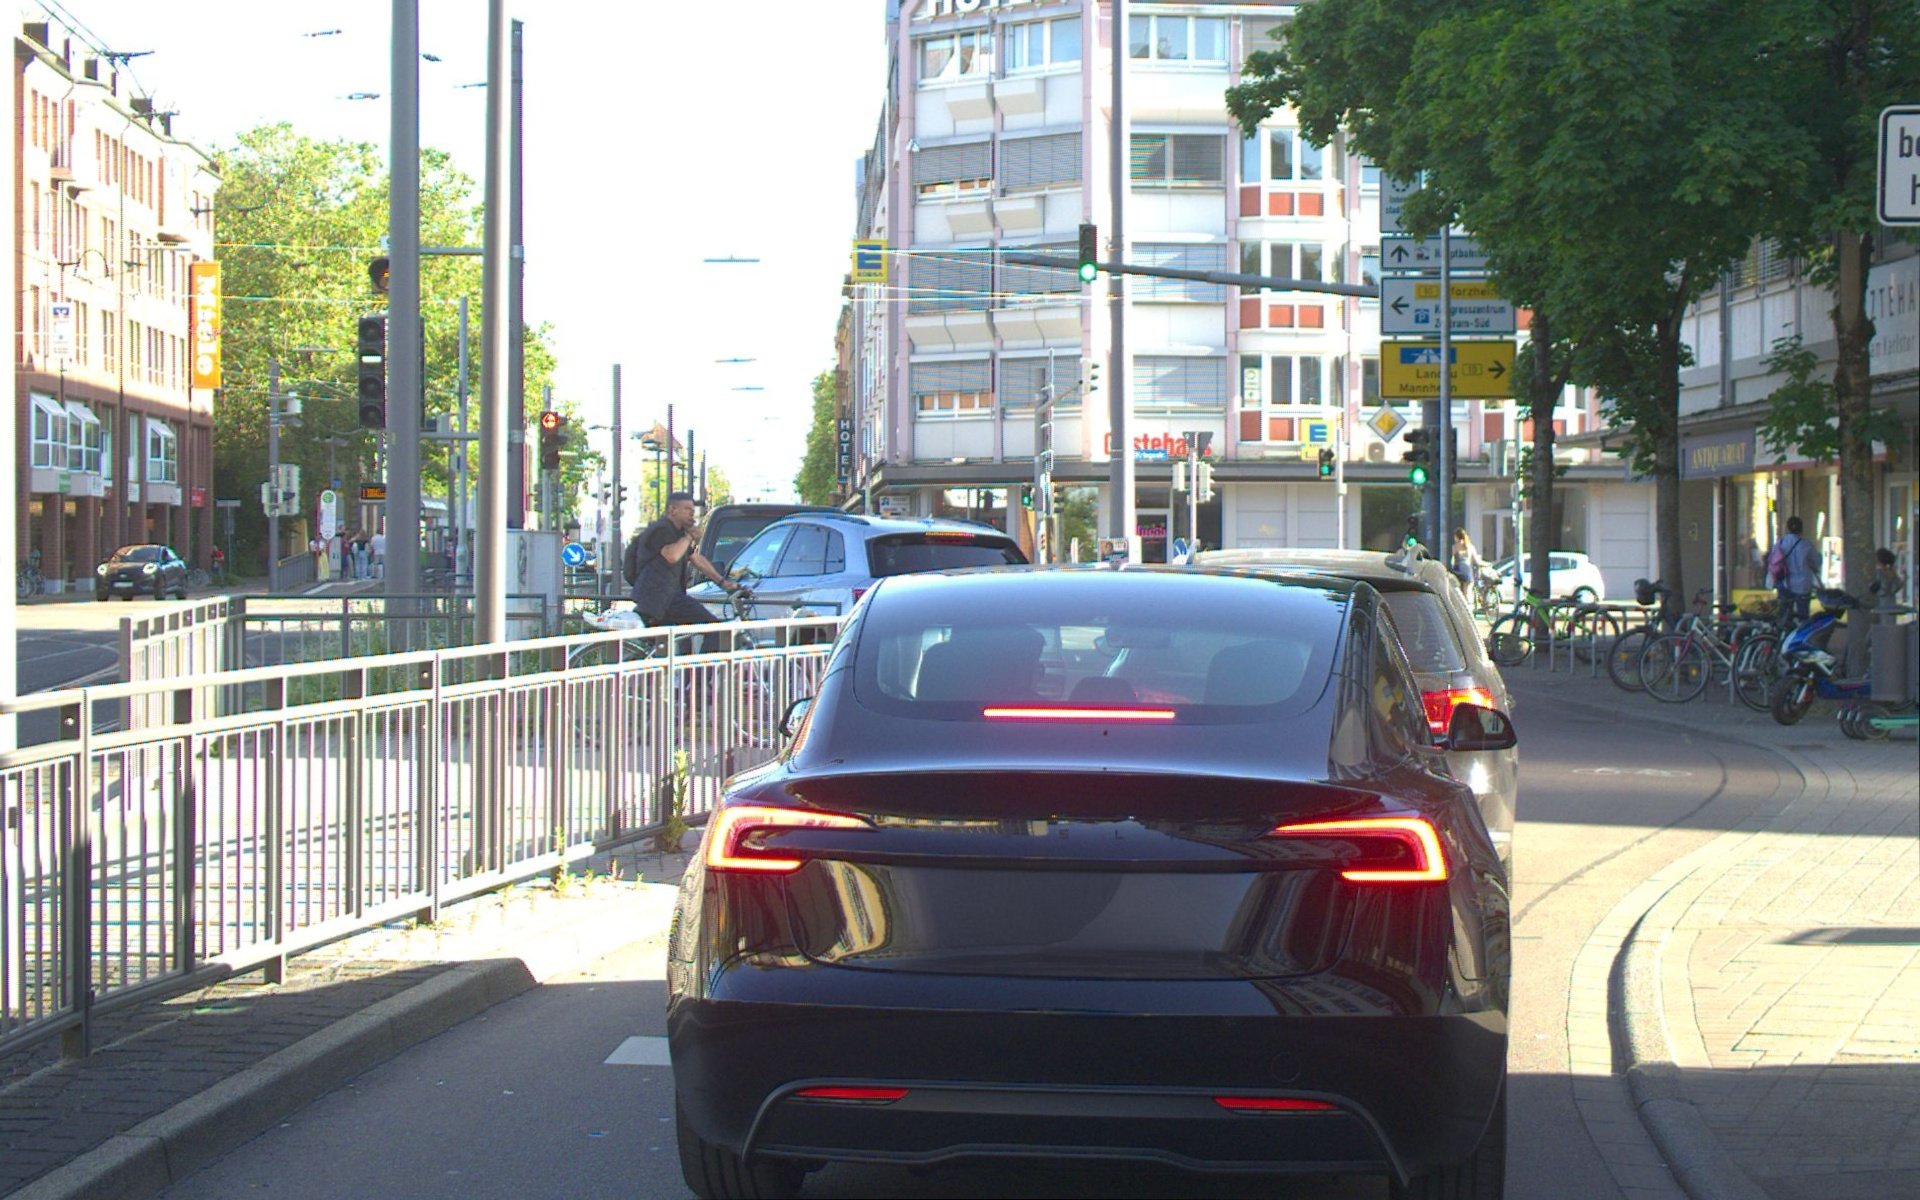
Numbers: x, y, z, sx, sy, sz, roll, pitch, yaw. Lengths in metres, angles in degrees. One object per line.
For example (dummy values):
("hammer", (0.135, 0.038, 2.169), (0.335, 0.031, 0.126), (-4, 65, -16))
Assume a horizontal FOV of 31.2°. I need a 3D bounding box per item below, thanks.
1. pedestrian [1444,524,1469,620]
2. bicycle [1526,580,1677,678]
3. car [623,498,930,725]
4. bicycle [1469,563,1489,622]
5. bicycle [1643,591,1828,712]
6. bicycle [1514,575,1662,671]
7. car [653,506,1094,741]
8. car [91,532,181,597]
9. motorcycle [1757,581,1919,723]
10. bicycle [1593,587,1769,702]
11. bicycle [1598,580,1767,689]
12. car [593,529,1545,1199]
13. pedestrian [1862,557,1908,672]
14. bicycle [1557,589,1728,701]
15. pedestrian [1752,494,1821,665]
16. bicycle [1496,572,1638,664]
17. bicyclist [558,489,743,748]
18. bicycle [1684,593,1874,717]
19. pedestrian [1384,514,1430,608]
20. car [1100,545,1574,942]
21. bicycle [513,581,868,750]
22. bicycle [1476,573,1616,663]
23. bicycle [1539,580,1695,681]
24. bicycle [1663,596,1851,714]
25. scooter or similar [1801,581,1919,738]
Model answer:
("pedestrian", (8.890, -0.506, 61.579), (0.402, 1.704, 0.527), (1, 0, 7))
("bicycle", (7.334, 0.328, 39.327), (1.650, 1.095, 0.350), (1, 0, 1))
("car", (-1.813, 0.076, 32.629), (1.993, 2.007, 4.001), (0, 1, -17))
("bicycle", (9.247, -0.138, 61.273), (0.332, 1.030, 1.256), (1, 0, 8))
("bicycle", (7.186, 0.475, 31.872), (1.649, 1.095, 0.350), (1, 0, -10))
("bicycle", (7.366, 0.268, 40.340), (1.650, 1.095, 0.350), (1, 0, 1))
("car", (-0.760, 0.143, 26.487), (1.883, 1.656, 4.159), (1, 1, -25))
("car", (-22.419, -0.969, 93.606), (1.697, 1.725, 3.707), (1, 1, -3))
("motorcycle", (7.718, 0.442, 29.263), (1.707, 1.169, 0.541), (1, 0, -2))
("bicycle", (7.004, 0.432, 33.400), (1.649, 1.095, 0.350), (1, 0, -10))
("bicycle", (7.423, 0.352, 35.348), (1.650, 1.095, 0.350), (1, 0, 1))
("car", (0.354, 0.582, 8.661), (1.829, 1.450, 3.999), (1, 1, 4))
("pedestrian", (10.896, 0.170, 40.504), (0.389, 1.339, 0.513), (1, 0, 2))
("bicycle", (6.817, 0.454, 34.345), (1.649, 1.095, 0.350), (1, 0, -10))
("pedestrian", (9.807, -0.240, 40.783), (0.662, 2.007, 0.579), (1, 0, 2))
("bicycle", (7.303, 0.211, 41.386), (1.650, 1.095, 0.350), (0, 1, 1))
("bicyclist", (-1.999, 0.112, 22.163), (0.758, 1.623, 0.978), (0, 1, -39))
("bicycle", (7.388, 0.495, 31.027), (1.649, 1.095, 0.350), (1, 0, -10))
("pedestrian", (7.962, -0.694, 61.271), (0.699, 1.656, 0.777), (1, 0, -1))
("car", (1.616, 0.504, 14.908), (1.751, 1.449, 3.999), (1, 1, 6))
("bicycle", (-1.733, 0.411, 22.427), (2.329, 1.050, 0.631), (0, 1, -38))
("bicycle", (7.235, 0.220, 42.480), (1.650, 1.095, 0.350), (1, 0, 1))
("bicycle", (7.314, 0.342, 38.300), (1.650, 1.095, 0.350), (1, 0, 1))
("bicycle", (7.290, 0.503, 31.449), (1.649, 1.057, 0.350), (1, 0, -10))
("scooter or similar", (7.562, 0.471, 27.189), (1.644, 1.211, 0.644), (1, 0, 30))
